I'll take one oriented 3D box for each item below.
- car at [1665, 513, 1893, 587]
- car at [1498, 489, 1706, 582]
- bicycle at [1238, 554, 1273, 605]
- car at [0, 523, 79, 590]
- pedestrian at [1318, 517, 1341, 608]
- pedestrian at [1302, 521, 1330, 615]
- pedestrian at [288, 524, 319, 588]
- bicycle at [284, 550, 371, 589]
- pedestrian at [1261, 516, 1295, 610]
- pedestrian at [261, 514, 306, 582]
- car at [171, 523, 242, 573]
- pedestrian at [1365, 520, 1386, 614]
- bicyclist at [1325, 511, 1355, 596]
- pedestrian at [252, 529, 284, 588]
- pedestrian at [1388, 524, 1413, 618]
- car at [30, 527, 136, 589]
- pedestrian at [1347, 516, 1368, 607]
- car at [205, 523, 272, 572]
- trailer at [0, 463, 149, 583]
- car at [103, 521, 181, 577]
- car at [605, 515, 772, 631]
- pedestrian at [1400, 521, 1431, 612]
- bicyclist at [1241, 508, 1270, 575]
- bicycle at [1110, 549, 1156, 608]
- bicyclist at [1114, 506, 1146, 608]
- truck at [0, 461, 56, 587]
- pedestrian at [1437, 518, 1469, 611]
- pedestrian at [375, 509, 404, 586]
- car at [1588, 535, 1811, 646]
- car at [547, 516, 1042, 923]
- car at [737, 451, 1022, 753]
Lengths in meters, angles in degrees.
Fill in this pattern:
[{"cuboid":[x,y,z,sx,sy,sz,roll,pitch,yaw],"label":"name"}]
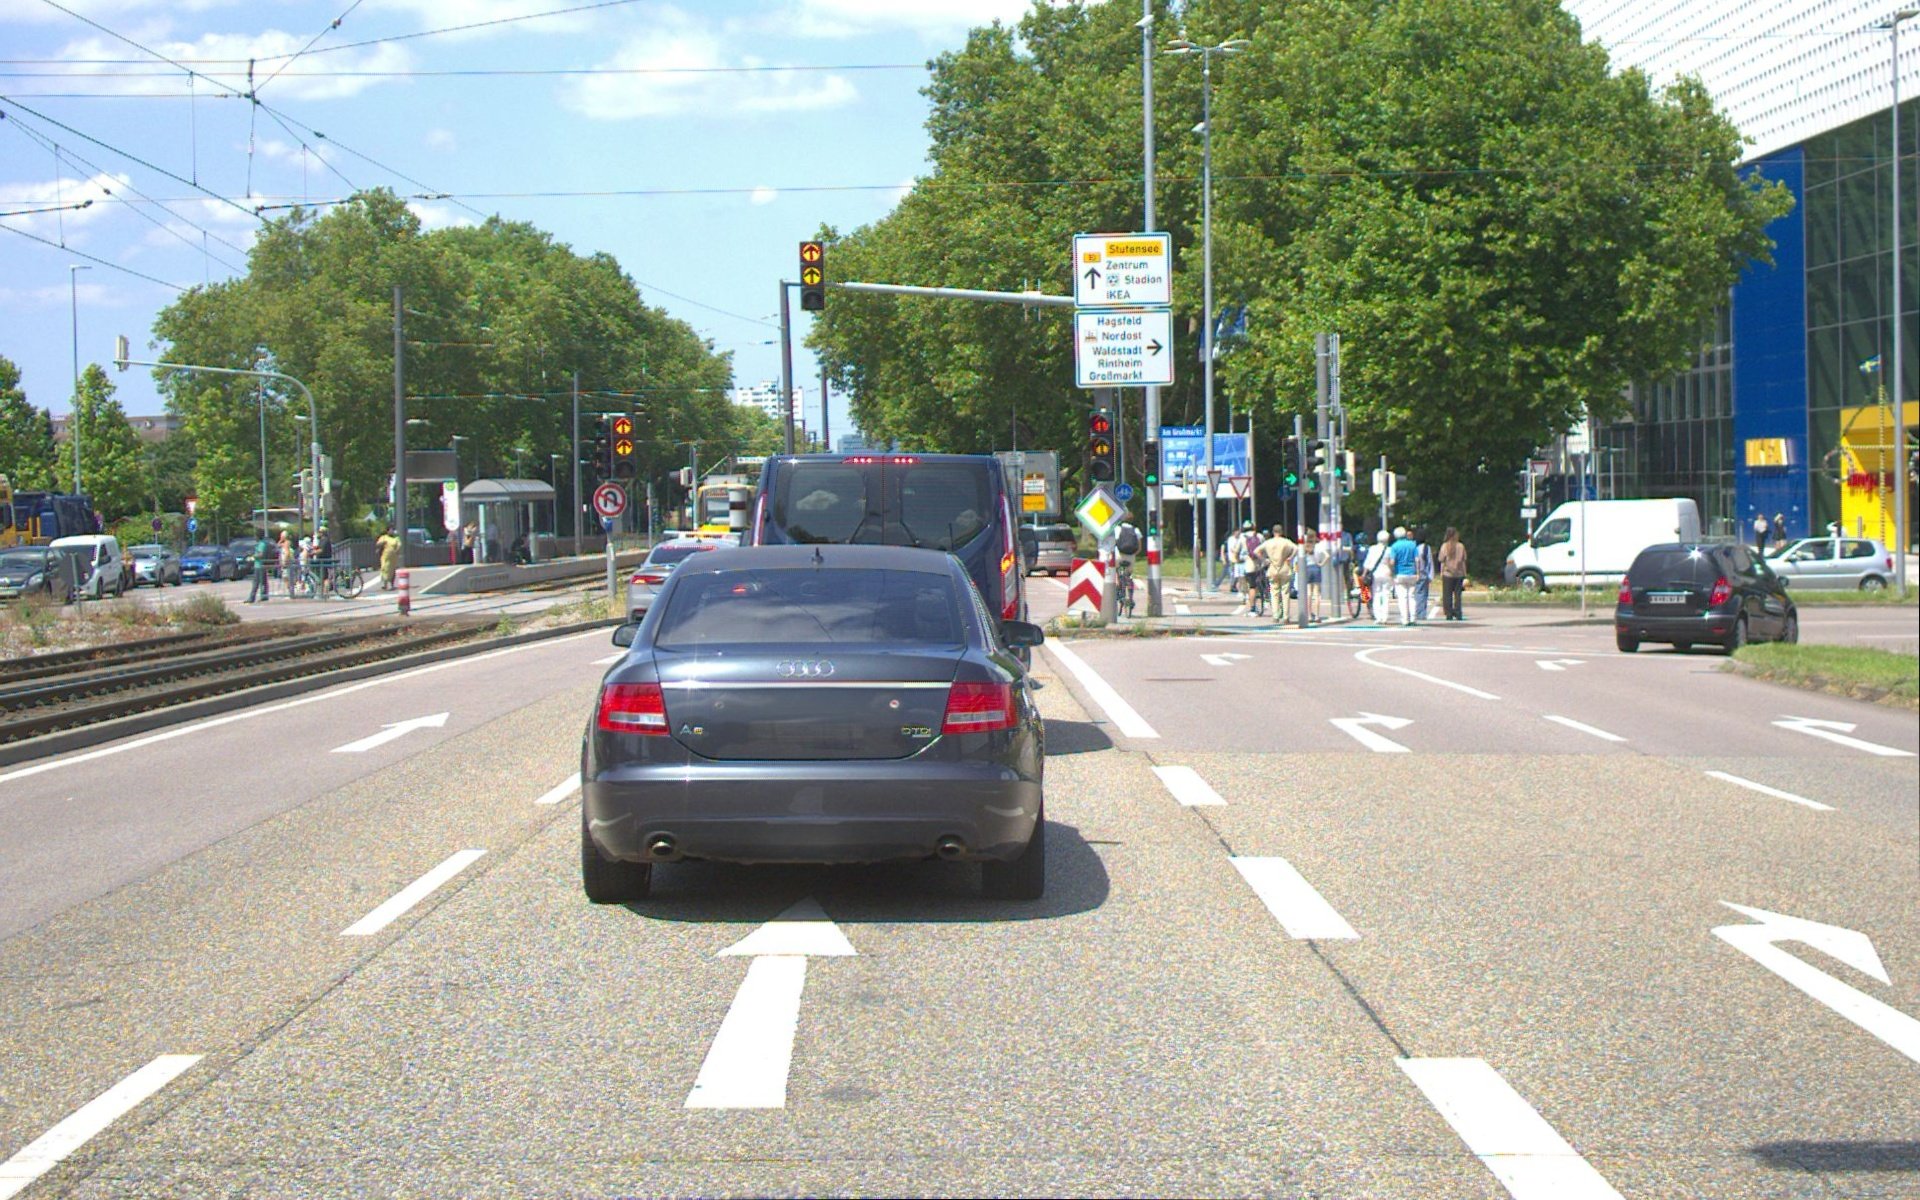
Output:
[{"cuboid":[17.758,-1.100,74.666,4.498,1.481,2.000,1,2,3],"label":"car"},{"cuboid":[16.167,-1.643,86.631,4.766,2.301,1.997,1,1,27],"label":"car"},{"cuboid":[5.266,-0.375,61.310,0.550,0.874,1.697,0,1,2],"label":"bicycle"},{"cuboid":[-24.875,-1.176,91.275,1.822,1.664,4.462,1,1,0],"label":"car"},{"cuboid":[6.676,-0.680,62.082,0.381,1.629,0.377,0,1,3],"label":"pedestrian"},{"cuboid":[6.207,-0.568,59.976,0.445,1.629,0.430,0,1,3],"label":"pedestrian"},{"cuboid":[-16.237,-1.086,84.998,0.685,1.559,0.573,0,1,-4],"label":"pedestrian"},{"cuboid":[-15.274,-0.740,83.023,2.055,0.922,0.753,0,1,-10],"label":"bicycle"},{"cuboid":[5.549,-0.655,59.975,0.554,1.629,0.433,0,1,3],"label":"pedestrian"},{"cuboid":[-17.062,-1.321,86.762,0.824,1.714,0.774,1,1,22],"label":"pedestrian"},{"cuboid":[-28.342,-1.969,129.421,1.817,1.876,4.000,0,1,-1],"label":"car"},{"cuboid":[7.236,-0.574,59.819,0.320,1.629,0.377,0,1,3],"label":"pedestrian"},{"cuboid":[7.975,-0.979,72.148,0.529,1.758,0.827,0,1,13],"label":"bicyclist"},{"cuboid":[-16.877,-1.015,83.888,0.685,1.438,0.573,0,1,-4],"label":"pedestrian"},{"cuboid":[7.668,-0.500,59.823,0.398,1.629,0.371,0,1,3],"label":"pedestrian"},{"cuboid":[-25.171,-1.228,98.813,1.822,1.664,4.461,1,1,1],"label":"car"},{"cuboid":[7.168,-0.694,61.997,0.339,1.629,0.377,0,1,3],"label":"pedestrian"},{"cuboid":[-28.318,-2.069,135.003,1.817,1.876,4.000,0,1,-1],"label":"car"},{"cuboid":[-28.718,-2.436,108.322,2.767,3.506,15.879,0,1,-1],"label":"trailer"},{"cuboid":[-28.475,-1.790,119.774,1.817,1.876,4.000,0,1,-1],"label":"car"},{"cuboid":[-3.702,-0.407,47.527,1.993,1.481,4.000,1,2,0],"label":"car"},{"cuboid":[8.214,-0.605,61.964,0.504,1.629,0.449,0,1,3],"label":"pedestrian"},{"cuboid":[5.304,-1.047,61.752,0.470,1.189,0.791,0,1,2],"label":"bicyclist"},{"cuboid":[3.069,-0.390,61.167,0.688,0.990,2.752,0,1,0],"label":"bicycle"},{"cuboid":[3.002,-0.767,60.761,0.528,1.783,1.088,0,1,0],"label":"bicyclist"},{"cuboid":[-28.618,-2.230,100.511,2.767,3.557,6.440,0,1,-1],"label":"truck"},{"cuboid":[8.879,-0.638,61.931,0.521,1.664,0.494,0,1,3],"label":"pedestrian"},{"cuboid":[-14.849,-1.369,89.477,0.685,2.007,0.573,0,1,-4],"label":"pedestrian"},{"cuboid":[10.646,-0.166,49.304,1.997,1.481,3.993,2,2,30],"label":"car"},{"cuboid":[-0.622,0.392,14.677,1.792,1.450,4.000,-1,2,0],"label":"car"},{"cuboid":[-0.544,-0.025,24.134,1.836,1.943,4.000,0,1,-1],"label":"car"}]
